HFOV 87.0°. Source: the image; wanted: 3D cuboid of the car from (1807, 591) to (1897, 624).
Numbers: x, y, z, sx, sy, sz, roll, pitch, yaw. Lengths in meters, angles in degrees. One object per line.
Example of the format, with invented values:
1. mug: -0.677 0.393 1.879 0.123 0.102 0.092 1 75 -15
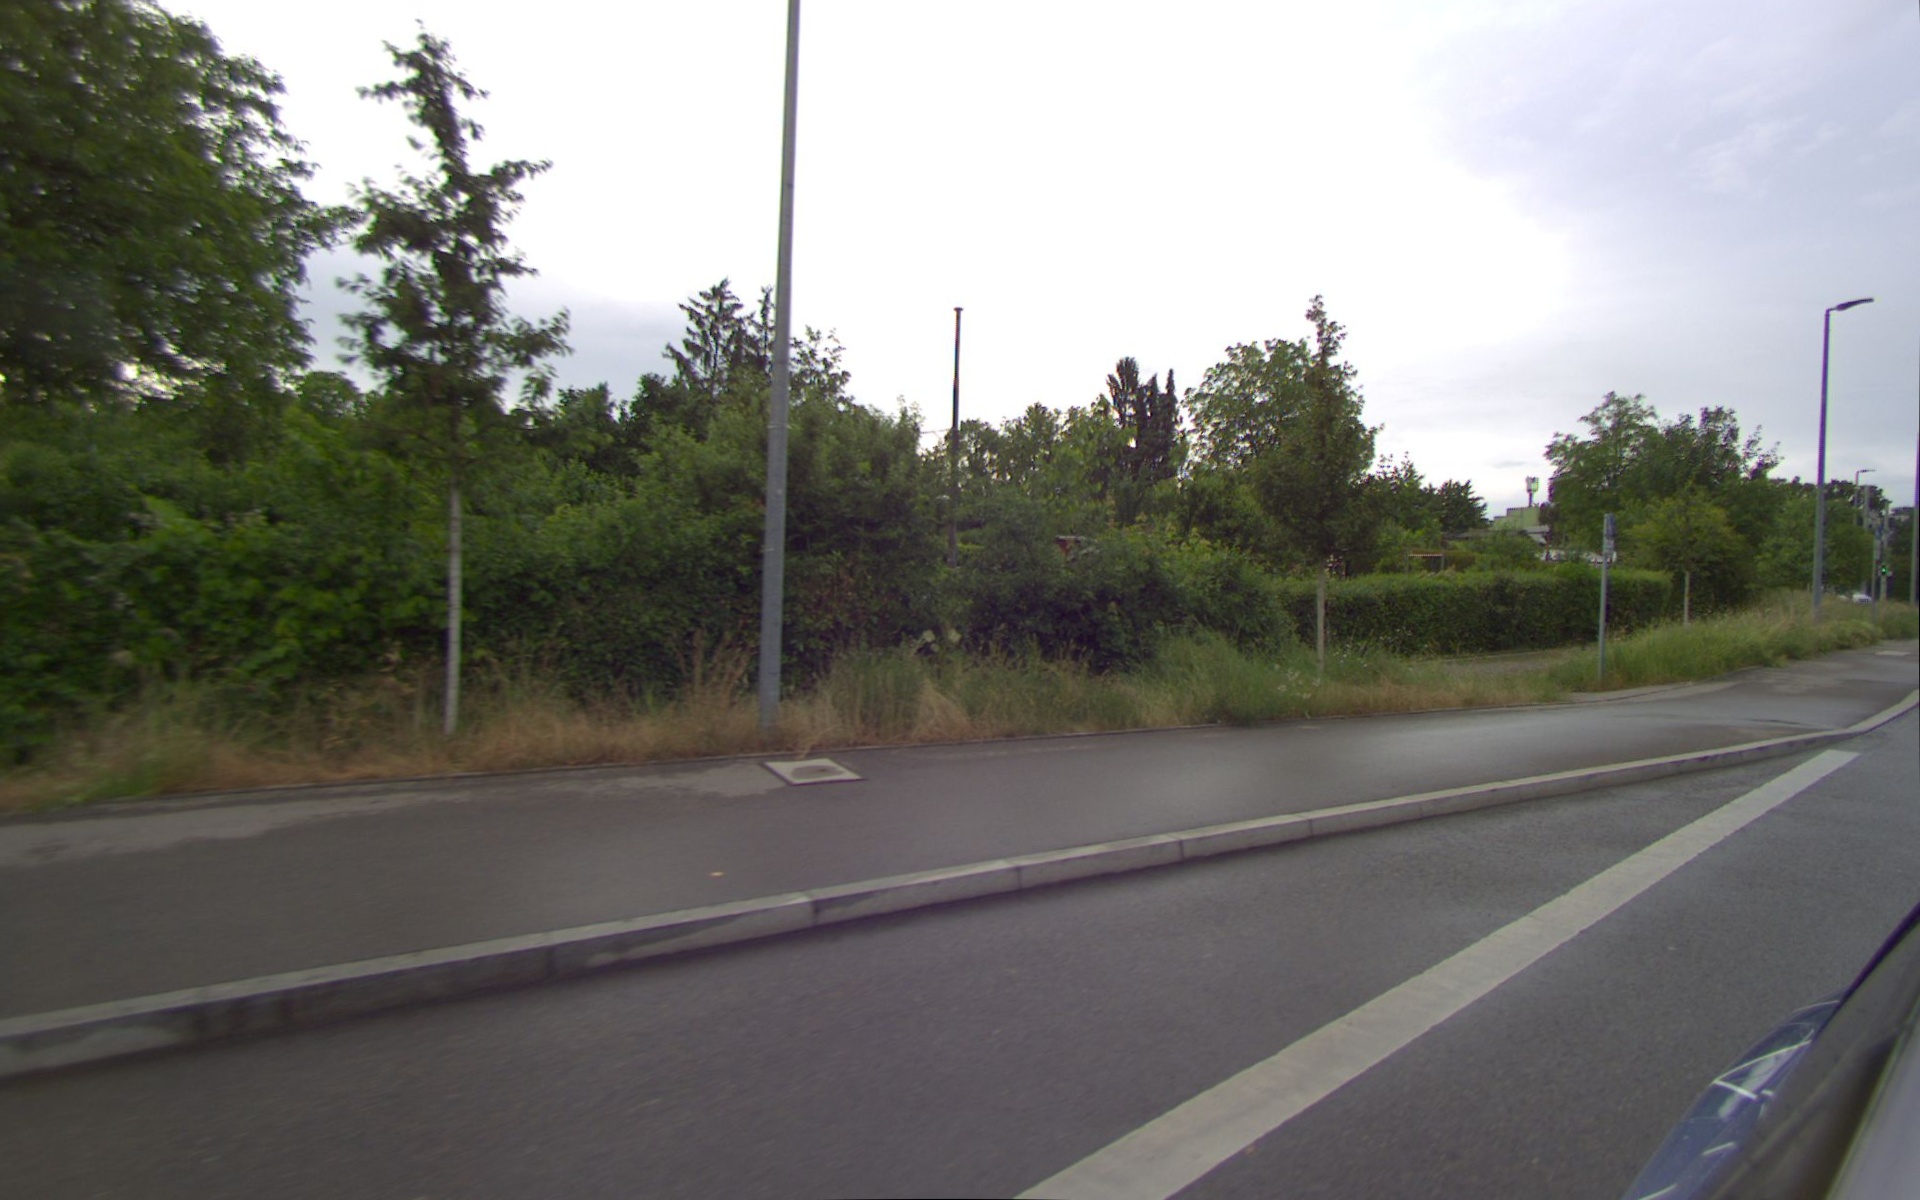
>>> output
1. car: 55.595 0.440 63.187 1.787 1.623 4.071 -1 5 -5

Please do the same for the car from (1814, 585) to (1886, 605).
1. car: 73.554 -0.394 83.681 1.804 1.422 4.046 2 1 -33
